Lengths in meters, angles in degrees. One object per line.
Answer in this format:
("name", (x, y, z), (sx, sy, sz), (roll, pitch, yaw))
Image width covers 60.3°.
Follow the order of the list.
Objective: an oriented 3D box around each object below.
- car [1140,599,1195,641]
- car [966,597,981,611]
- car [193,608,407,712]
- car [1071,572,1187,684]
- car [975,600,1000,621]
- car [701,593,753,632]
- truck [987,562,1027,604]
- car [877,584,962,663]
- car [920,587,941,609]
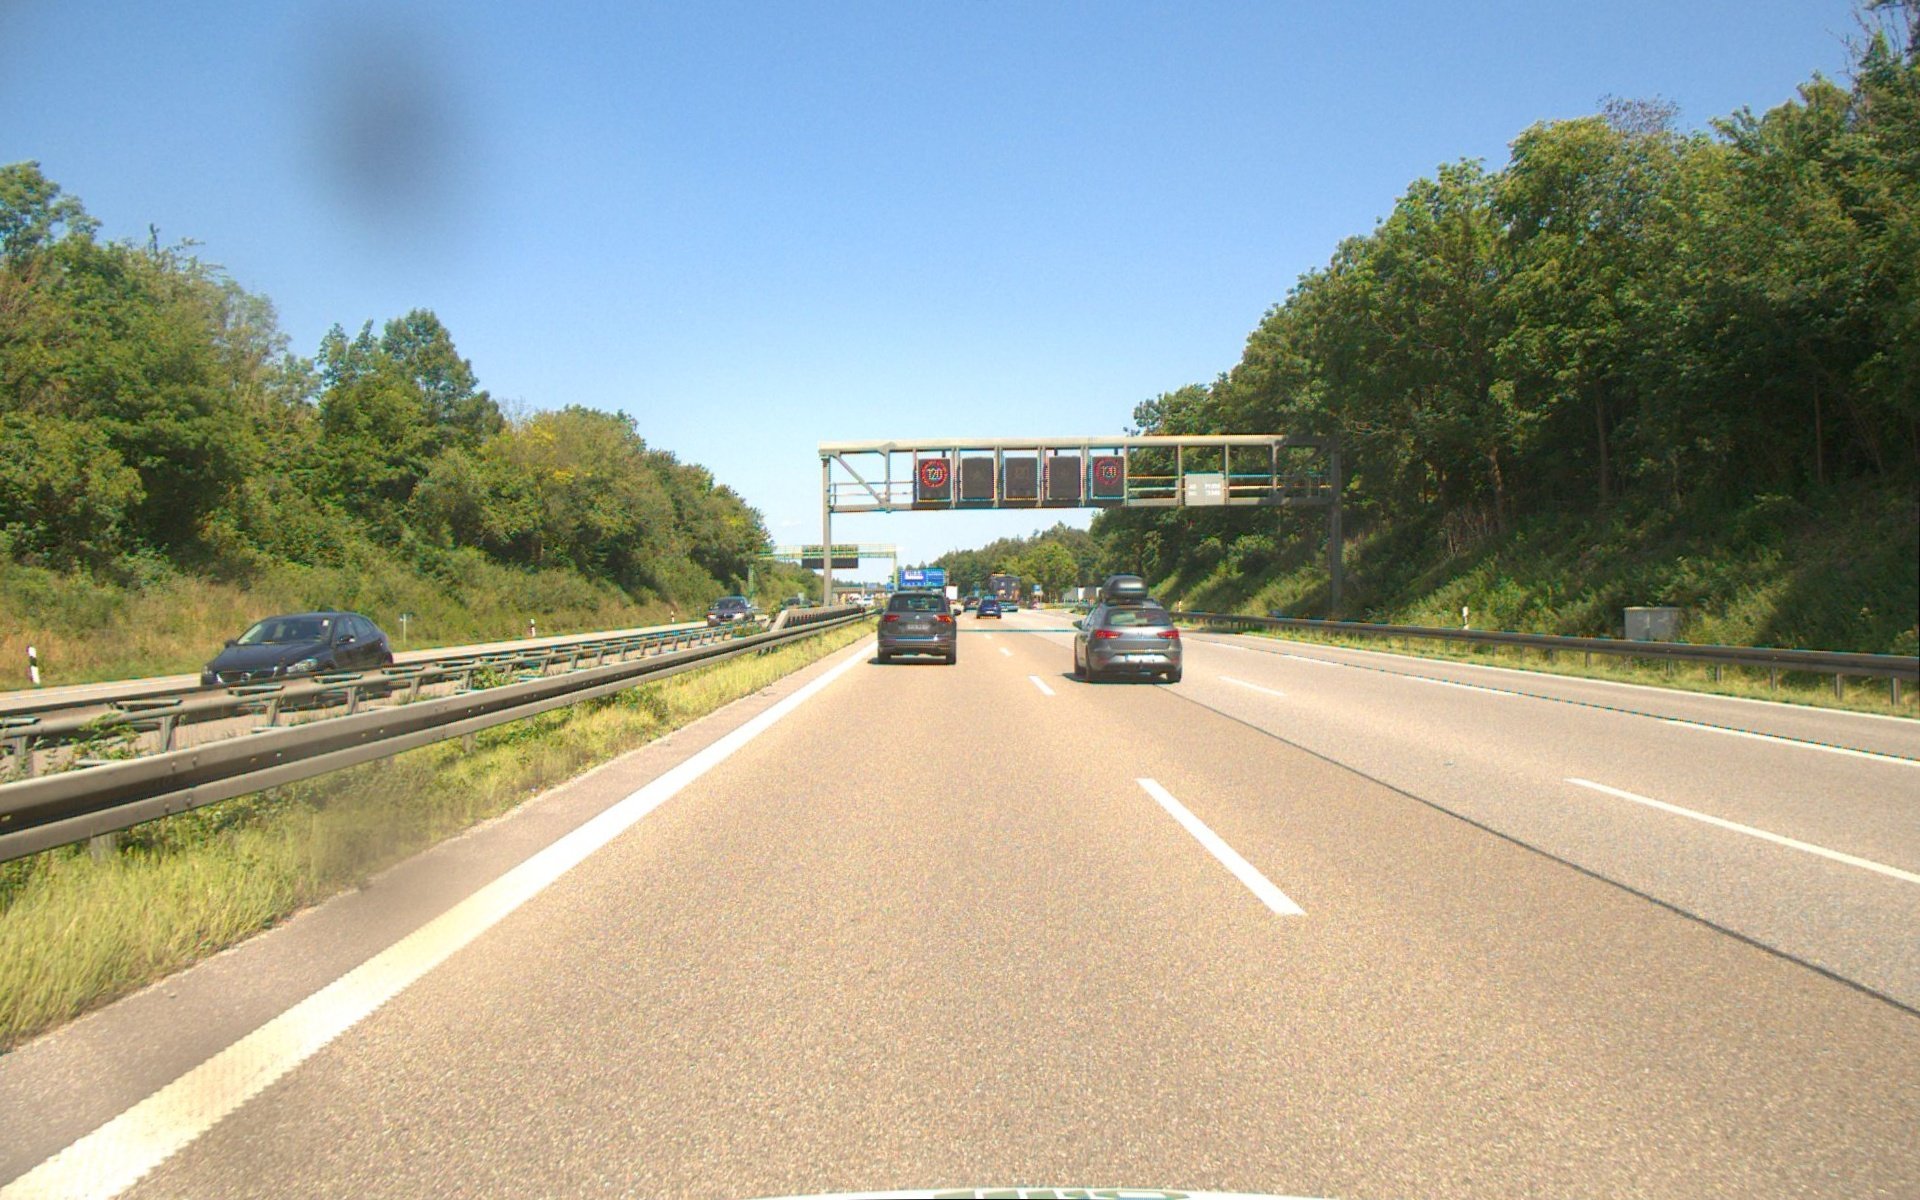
("car", (8.206, 0.761, 65.679), (1.728, 1.595, 4.259), (1, 0, 1))
("car", (1.387, 0.438, 172.605), (1.441, 1.422, 3.409), (2, 0, -2))
("car", (-10.151, 0.867, 25.781), (1.678, 1.422, 4.149), (-1, 0, -1))
("car", (3.098, 0.470, 31.198), (1.631, 1.909, 4.827), (-1, 0, 0))
("car", (1.990, 0.760, 119.544), (1.728, 1.406, 4.259), (1, 0, 1))
("car", (-10.843, 0.536, 77.259), (1.770, 1.670, 4.799), (-3, 0, -1))
("truck", (5.094, -1.818, 182.986), (3.704, 4.499, 14.046), (0, 0, -2))
("car", (-0.875, 0.512, 38.223), (1.762, 1.698, 4.259), (1, 0, 1))
("car", (-2.888, -0.185, 161.181), (1.953, 2.049, 3.999), (1, 0, -1))
